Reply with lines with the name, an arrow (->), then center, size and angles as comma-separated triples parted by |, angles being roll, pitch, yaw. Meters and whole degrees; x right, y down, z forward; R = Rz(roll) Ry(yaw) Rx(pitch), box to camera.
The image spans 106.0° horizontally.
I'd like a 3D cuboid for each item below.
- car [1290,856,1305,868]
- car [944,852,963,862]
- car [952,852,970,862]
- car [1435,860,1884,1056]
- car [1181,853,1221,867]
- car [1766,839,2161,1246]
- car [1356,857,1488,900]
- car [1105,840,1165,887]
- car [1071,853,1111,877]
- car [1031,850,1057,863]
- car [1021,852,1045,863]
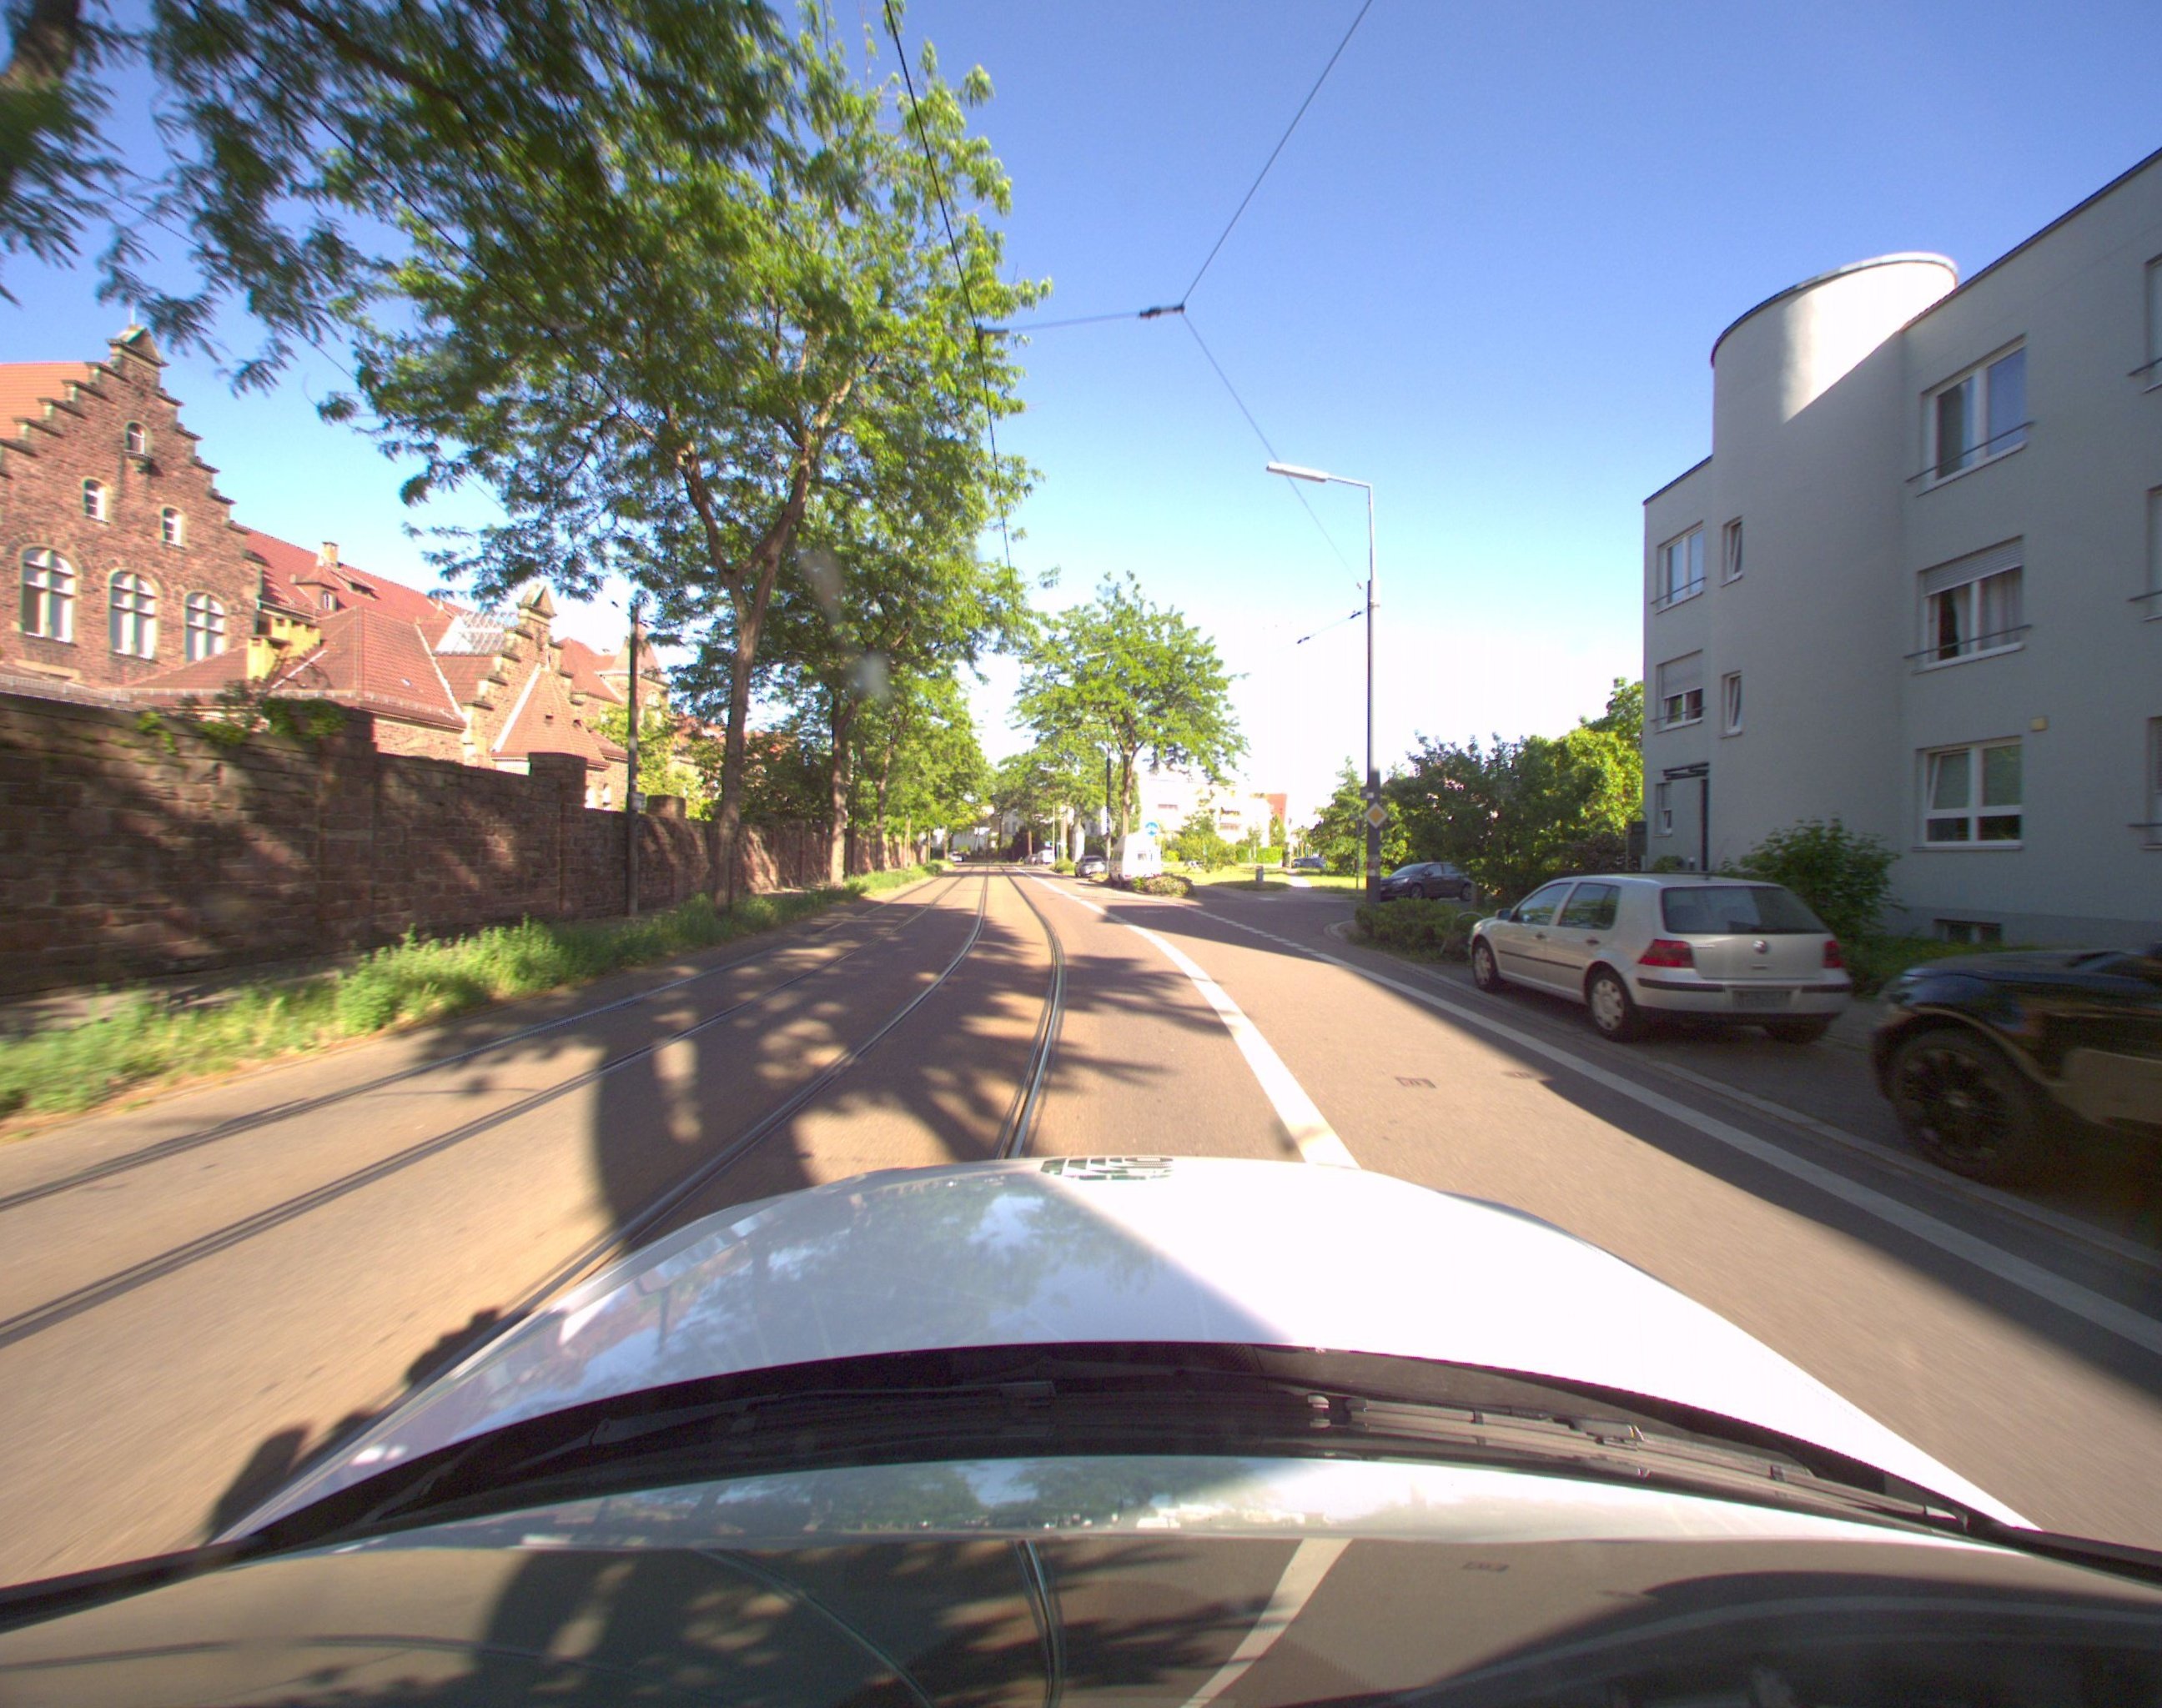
car -> 31.602, 1.128, 118.740 | 2.029, 1.708, 4.306 | 0, 0, 16
car -> -20.636, 0.509, 131.633 | 1.903, 1.611, 4.190 | 1, -2, -27
car -> -21.187, 0.466, 143.245 | 1.814, 1.694, 4.689 | -3, 1, -26
car -> 5.512, 0.829, 8.645 | 1.731, 1.495, 4.533 | 1, 0, 3
car -> 14.155, 0.737, 96.036 | 4.293, 1.511, 1.828 | 0, -3, -19
car -> 5.260, 0.738, 2.897 | 1.985, 1.616, 4.605 | -1, 0, 4
car -> 12.701, 0.923, 30.331 | 4.470, 1.490, 1.992 | 0, -3, -25
car -> 2.502, 0.432, 39.018 | 1.992, 2.095, 4.703 | 0, 0, -8
car -> 0.649, 0.738, 57.210 | 1.999, 1.465, 5.418 | -3, 0, -8
car -> -4.906, 0.311, 107.165 | 2.030, 1.746, 4.717 | 0, 0, -22
car -> -6.663, 0.514, 112.872 | 2.002, 1.423, 4.300 | 0, -1, -22
